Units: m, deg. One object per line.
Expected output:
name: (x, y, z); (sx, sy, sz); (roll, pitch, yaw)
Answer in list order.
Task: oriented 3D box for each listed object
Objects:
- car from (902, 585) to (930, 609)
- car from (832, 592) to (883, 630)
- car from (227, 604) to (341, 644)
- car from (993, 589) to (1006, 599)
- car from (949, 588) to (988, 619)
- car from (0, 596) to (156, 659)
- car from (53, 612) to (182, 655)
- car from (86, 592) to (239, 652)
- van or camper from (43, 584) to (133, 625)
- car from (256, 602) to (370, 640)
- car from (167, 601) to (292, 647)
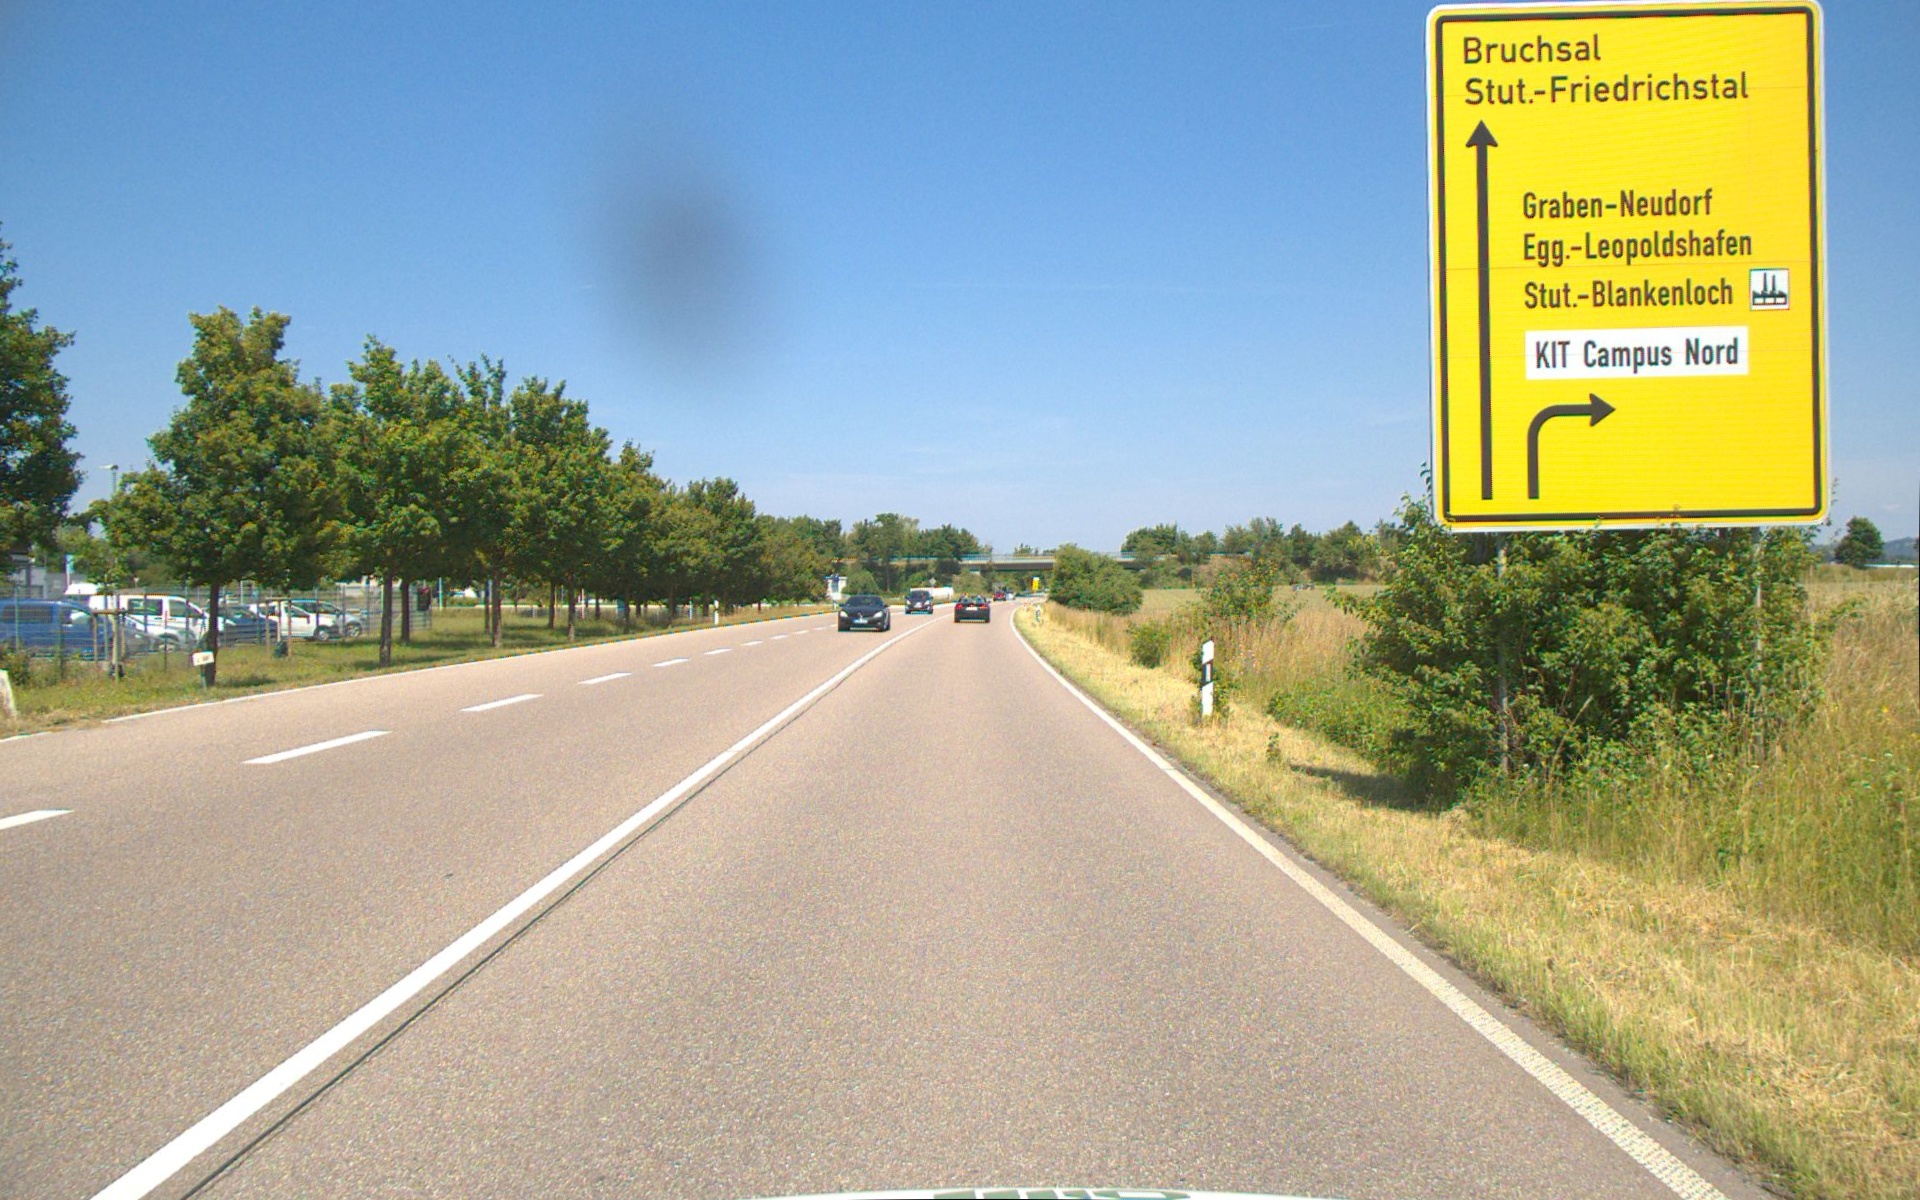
car: (-2.874, -0.193, 108.365); (1.645, 1.525, 3.886); (0, 0, 1)
car: (-3.596, 0.358, 58.515); (1.602, 1.291, 3.811); (0, 0, -1)
car: (-26.980, 0.935, 66.082); (3.954, 1.505, 1.650); (0, 0, -39)
car: (5.697, -0.835, 238.648); (1.706, 1.436, 4.625); (1, 0, 1)
car: (0.391, 0.152, 80.745); (1.777, 1.466, 3.999); (1, 0, -1)
car: (-26.761, 0.791, 50.064); (4.234, 1.833, 2.010); (0, 0, -24)
car: (-27.004, 1.063, 53.137); (3.623, 1.287, 1.801); (0, 0, -26)
car: (-27.524, 0.717, 57.100); (4.606, 1.988, 1.806); (0, 0, -33)
van or camper: (-53.502, 0.280, 101.667); (2.414, 2.404, 6.533); (0, 0, -4)
car: (-27.554, 0.866, 70.518); (4.300, 1.570, 1.567); (0, 0, -40)
car: (-27.123, 0.875, 61.468); (3.955, 1.624, 1.975); (0, 0, -36)
